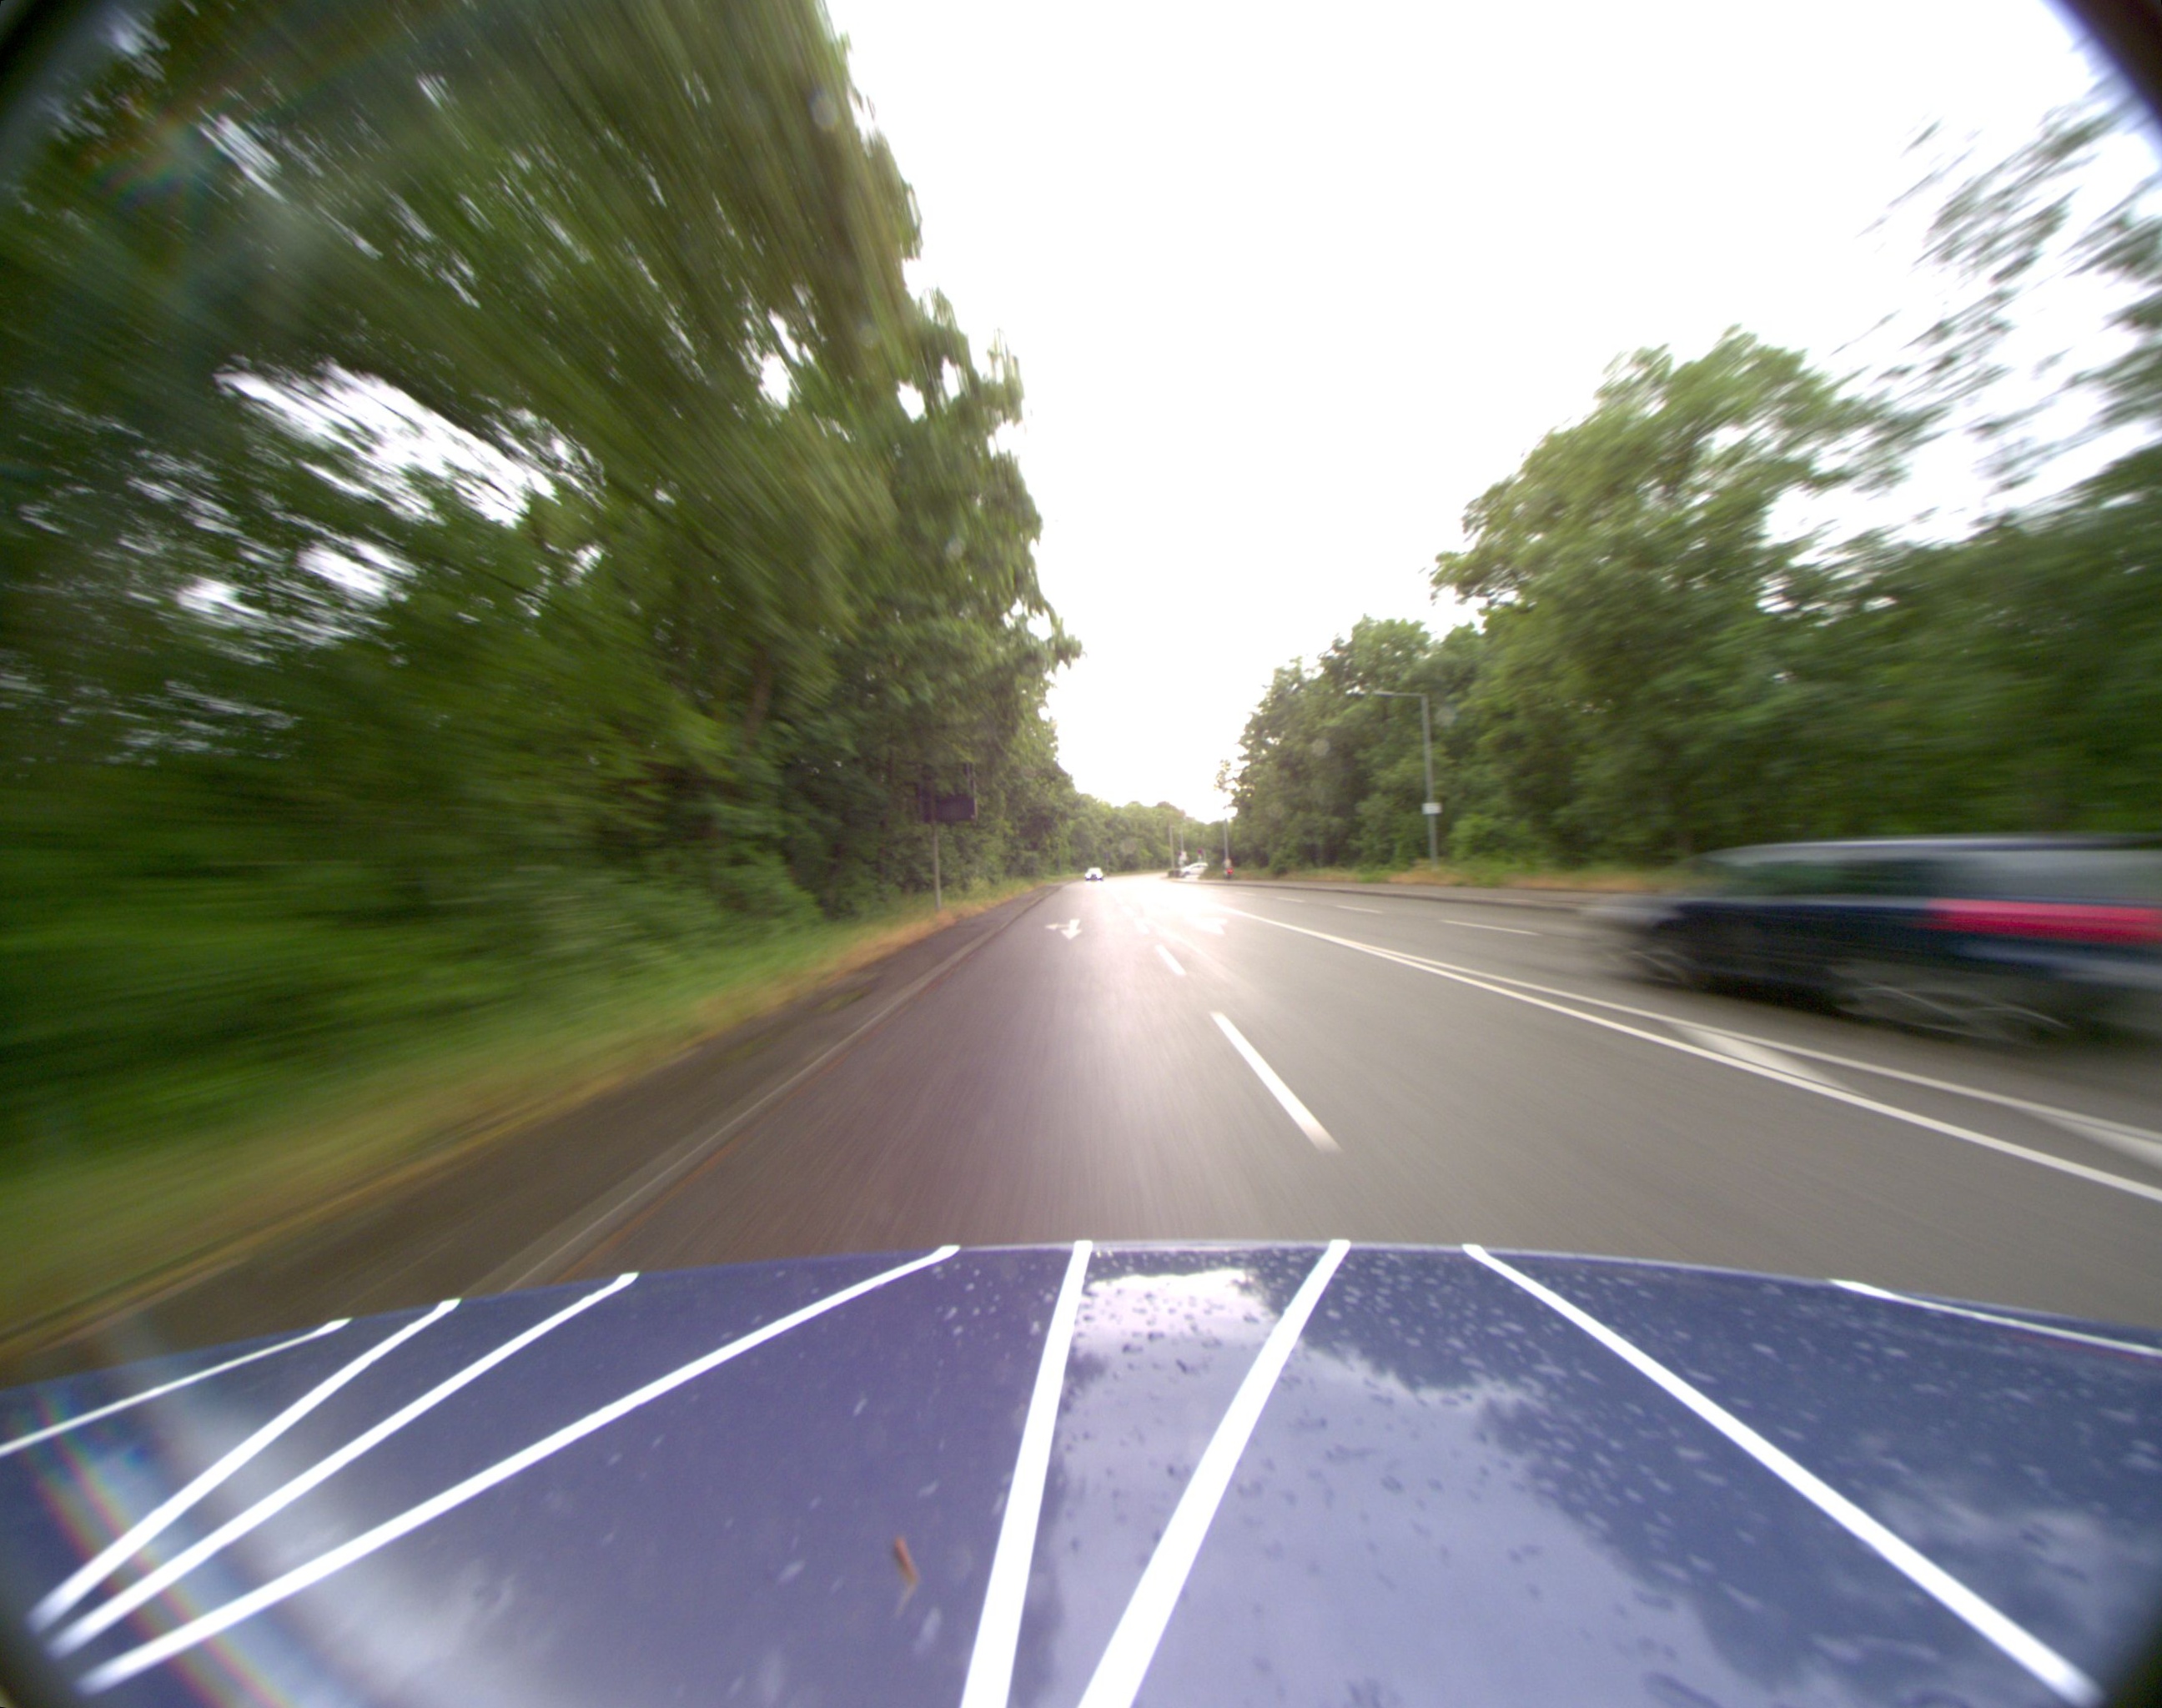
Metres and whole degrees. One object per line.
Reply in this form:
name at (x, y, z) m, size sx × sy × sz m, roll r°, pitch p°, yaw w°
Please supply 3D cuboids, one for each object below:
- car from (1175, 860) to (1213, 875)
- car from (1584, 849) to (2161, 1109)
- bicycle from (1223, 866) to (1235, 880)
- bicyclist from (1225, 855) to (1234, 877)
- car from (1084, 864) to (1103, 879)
car at (14.642, 1.784, 98.494) m, size 4.751 × 1.706 × 1.895 m, roll -3°, pitch 0°, yaw 6°
car at (6.641, 0.738, 6.510) m, size 1.705 × 1.419 × 4.077 m, roll -4°, pitch 0°, yaw -4°
bicycle at (10.909, 1.386, 56.076) m, size 0.453 × 0.998 × 2.018 m, roll -4°, pitch -1°, yaw 2°
bicyclist at (10.922, 0.870, 56.001) m, size 0.580 × 1.577 × 0.700 m, roll -1°, pitch 0°, yaw 8°
car at (1.355, 1.856, 81.417) m, size 1.998 × 1.576 × 4.001 m, roll -1°, pitch 0°, yaw 2°
